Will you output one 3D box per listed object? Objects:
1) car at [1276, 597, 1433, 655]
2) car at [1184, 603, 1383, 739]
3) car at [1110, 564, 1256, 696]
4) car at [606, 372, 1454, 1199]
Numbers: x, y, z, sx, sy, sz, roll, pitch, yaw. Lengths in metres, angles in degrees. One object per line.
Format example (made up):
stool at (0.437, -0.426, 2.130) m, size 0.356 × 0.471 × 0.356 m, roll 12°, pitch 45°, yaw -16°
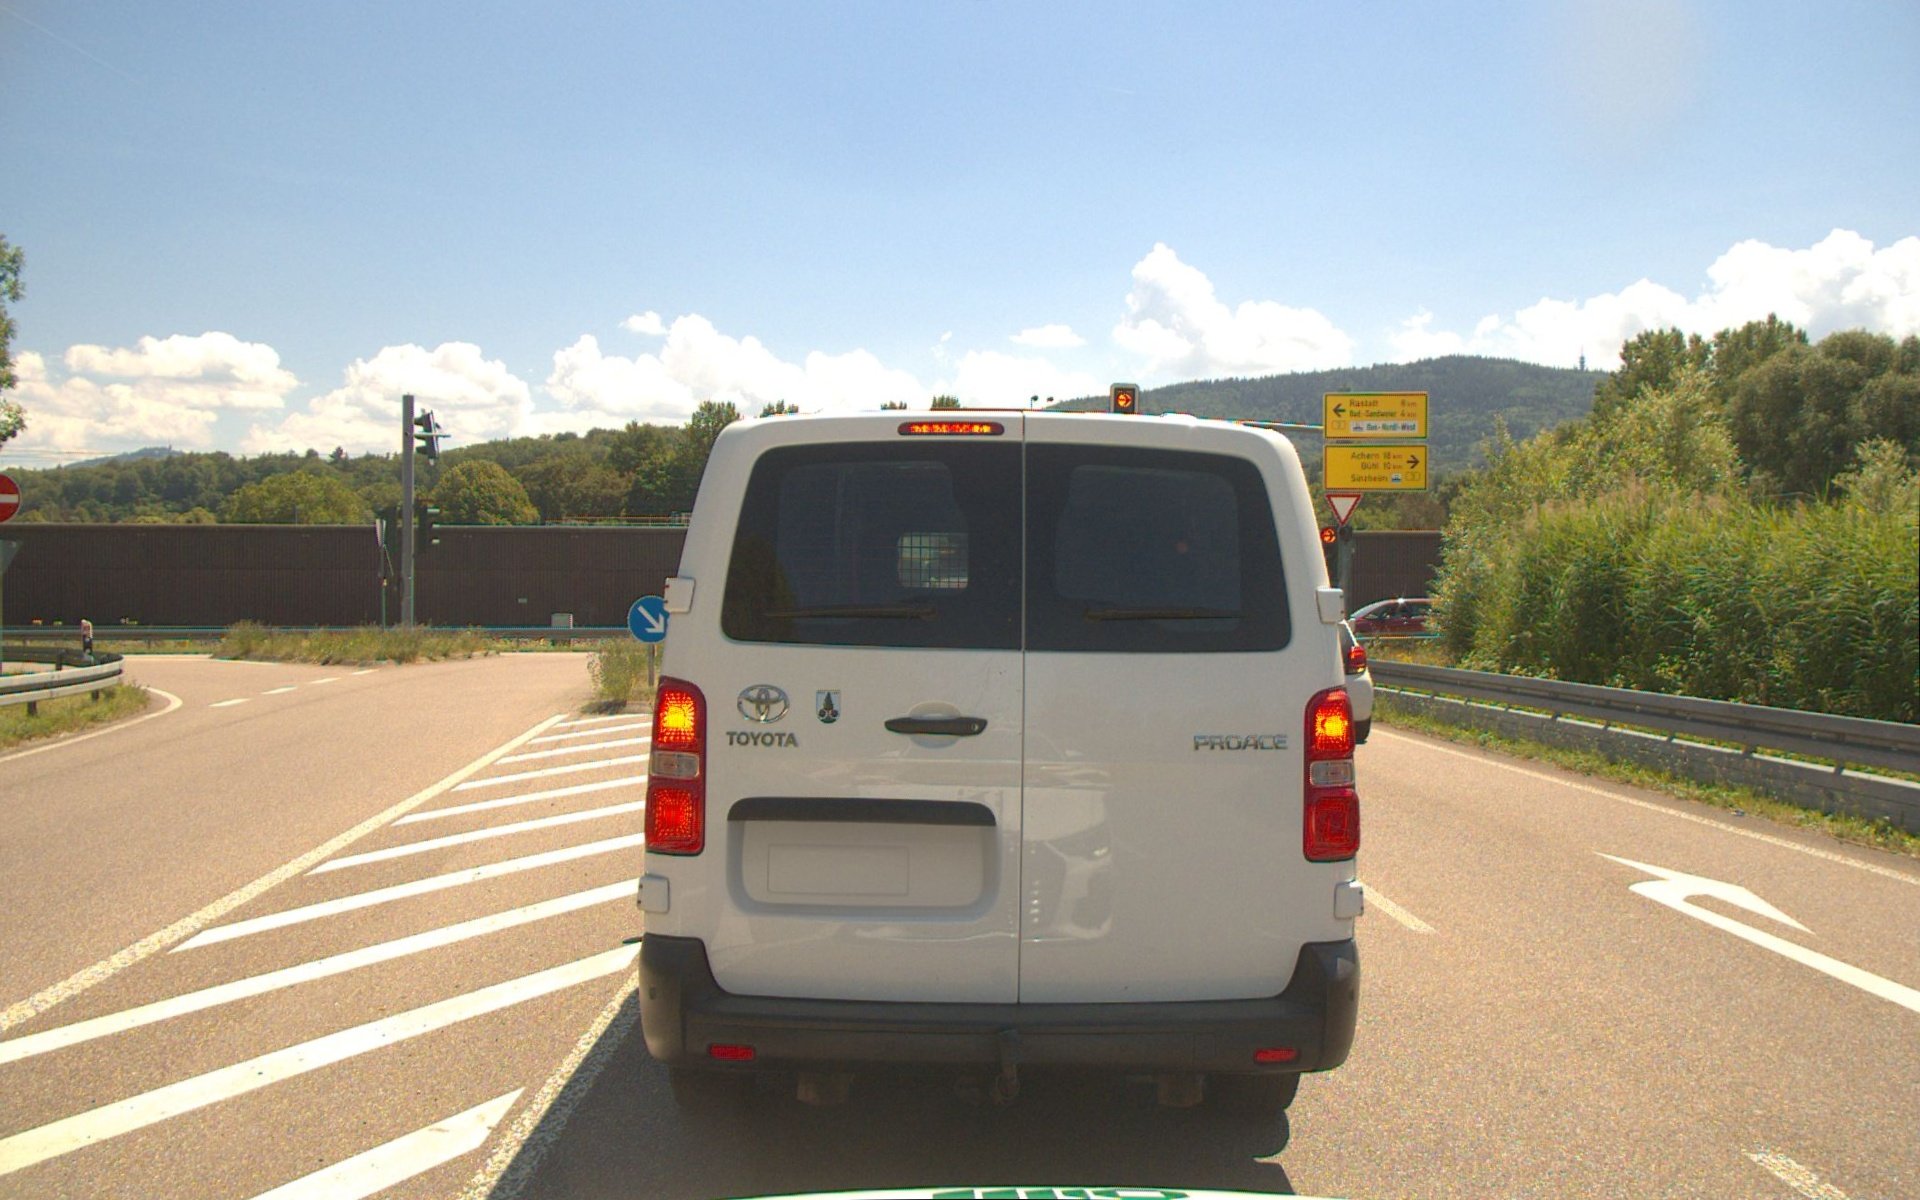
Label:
car at (11.889, 0.783, 50.036) m, size 4.225 × 1.685 × 1.998 m, roll 0°, pitch 0°, yaw -4°
car at (3.750, 0.775, 19.668) m, size 1.622 × 1.456 × 3.364 m, roll 1°, pitch 0°, yaw -1°
car at (3.713, 0.470, 28.292) m, size 1.889 × 2.035 × 4.838 m, roll 1°, pitch 0°, yaw 1°
car at (0.118, 0.478, 5.641) m, size 1.848 × 1.919 × 3.999 m, roll 1°, pitch 0°, yaw -1°
